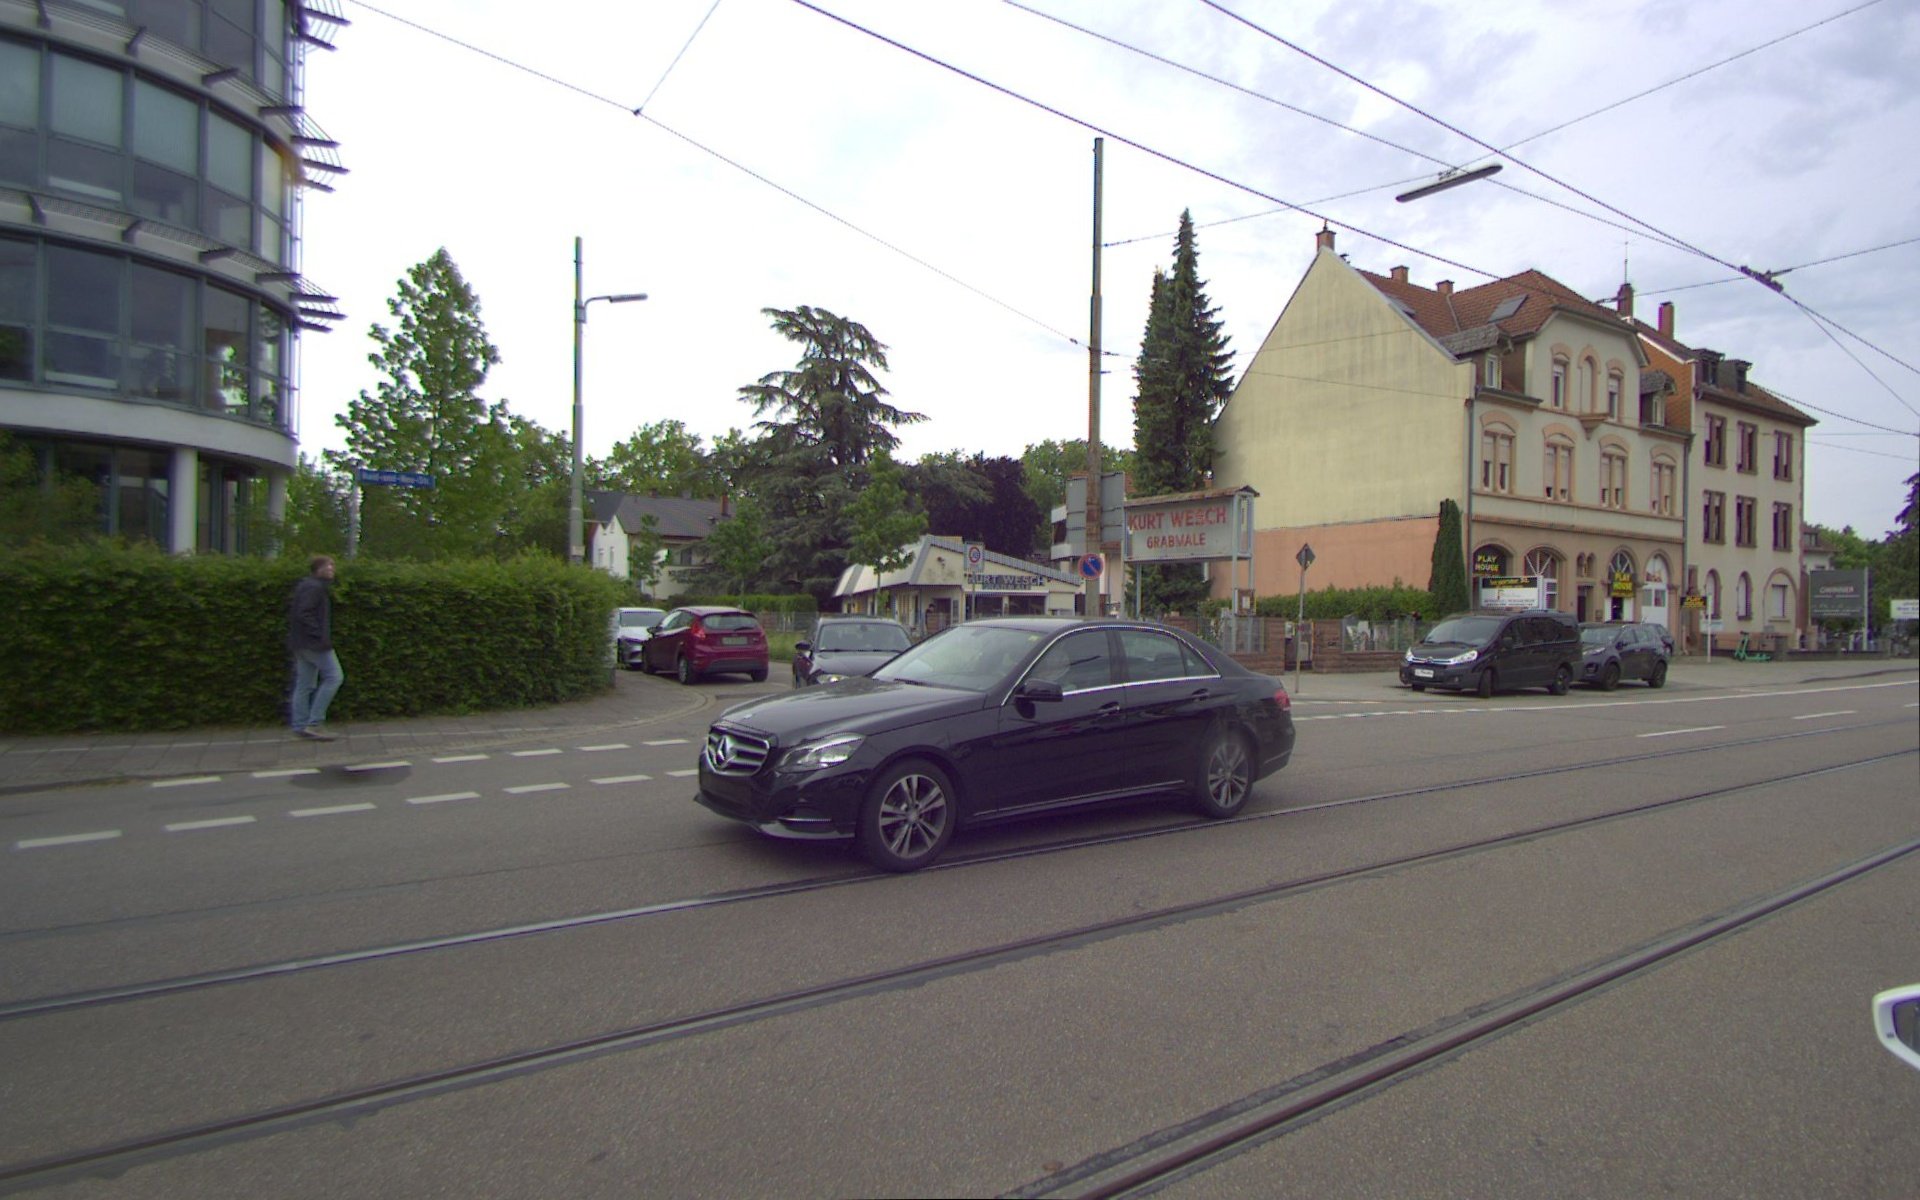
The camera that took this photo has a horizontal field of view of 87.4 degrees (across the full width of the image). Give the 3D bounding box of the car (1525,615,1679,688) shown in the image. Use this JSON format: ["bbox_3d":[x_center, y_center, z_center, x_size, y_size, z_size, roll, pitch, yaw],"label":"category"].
[{"bbox_3d":[17.036,1.347,26.615,4.148,1.740,1.834,2,0,-33],"label":"car"}]

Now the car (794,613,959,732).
[{"bbox_3d":[-1.320,0.911,14.140,1.771,1.406,3.923,1,-1,-13],"label":"car"}]

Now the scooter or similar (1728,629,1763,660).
[{"bbox_3d":[32.177,1.802,41.142,1.032,1.204,0.318,2,0,25],"label":"scooter or similar"}]

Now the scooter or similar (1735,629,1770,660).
[{"bbox_3d":[31.994,1.793,40.568,1.032,1.204,0.318,2,0,25],"label":"scooter or similar"}]

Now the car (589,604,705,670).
[{"bbox_3d":[-7.624,0.874,24.240,1.811,1.439,3.968,2,-2,-30],"label":"car"}]

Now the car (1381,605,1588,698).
[{"bbox_3d":[12.213,1.161,23.295,4.942,1.912,1.981,2,0,-32],"label":"car"}]

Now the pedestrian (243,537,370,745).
[{"bbox_3d":[-6.725,0.411,10.387,0.978,2.040,0.707,2,0,-28],"label":"pedestrian"}]

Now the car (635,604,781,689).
[{"bbox_3d":[-5.160,0.846,20.264,1.749,1.437,3.687,-1,2,-33],"label":"car"}]

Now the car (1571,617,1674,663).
[{"bbox_3d":[24.103,1.452,36.508,3.706,1.520,1.743,2,0,-33],"label":"car"}]

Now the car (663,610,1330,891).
[{"bbox_3d":[0.506,0.836,7.453,4.841,1.446,1.932,1,-1,-38],"label":"car"}]
